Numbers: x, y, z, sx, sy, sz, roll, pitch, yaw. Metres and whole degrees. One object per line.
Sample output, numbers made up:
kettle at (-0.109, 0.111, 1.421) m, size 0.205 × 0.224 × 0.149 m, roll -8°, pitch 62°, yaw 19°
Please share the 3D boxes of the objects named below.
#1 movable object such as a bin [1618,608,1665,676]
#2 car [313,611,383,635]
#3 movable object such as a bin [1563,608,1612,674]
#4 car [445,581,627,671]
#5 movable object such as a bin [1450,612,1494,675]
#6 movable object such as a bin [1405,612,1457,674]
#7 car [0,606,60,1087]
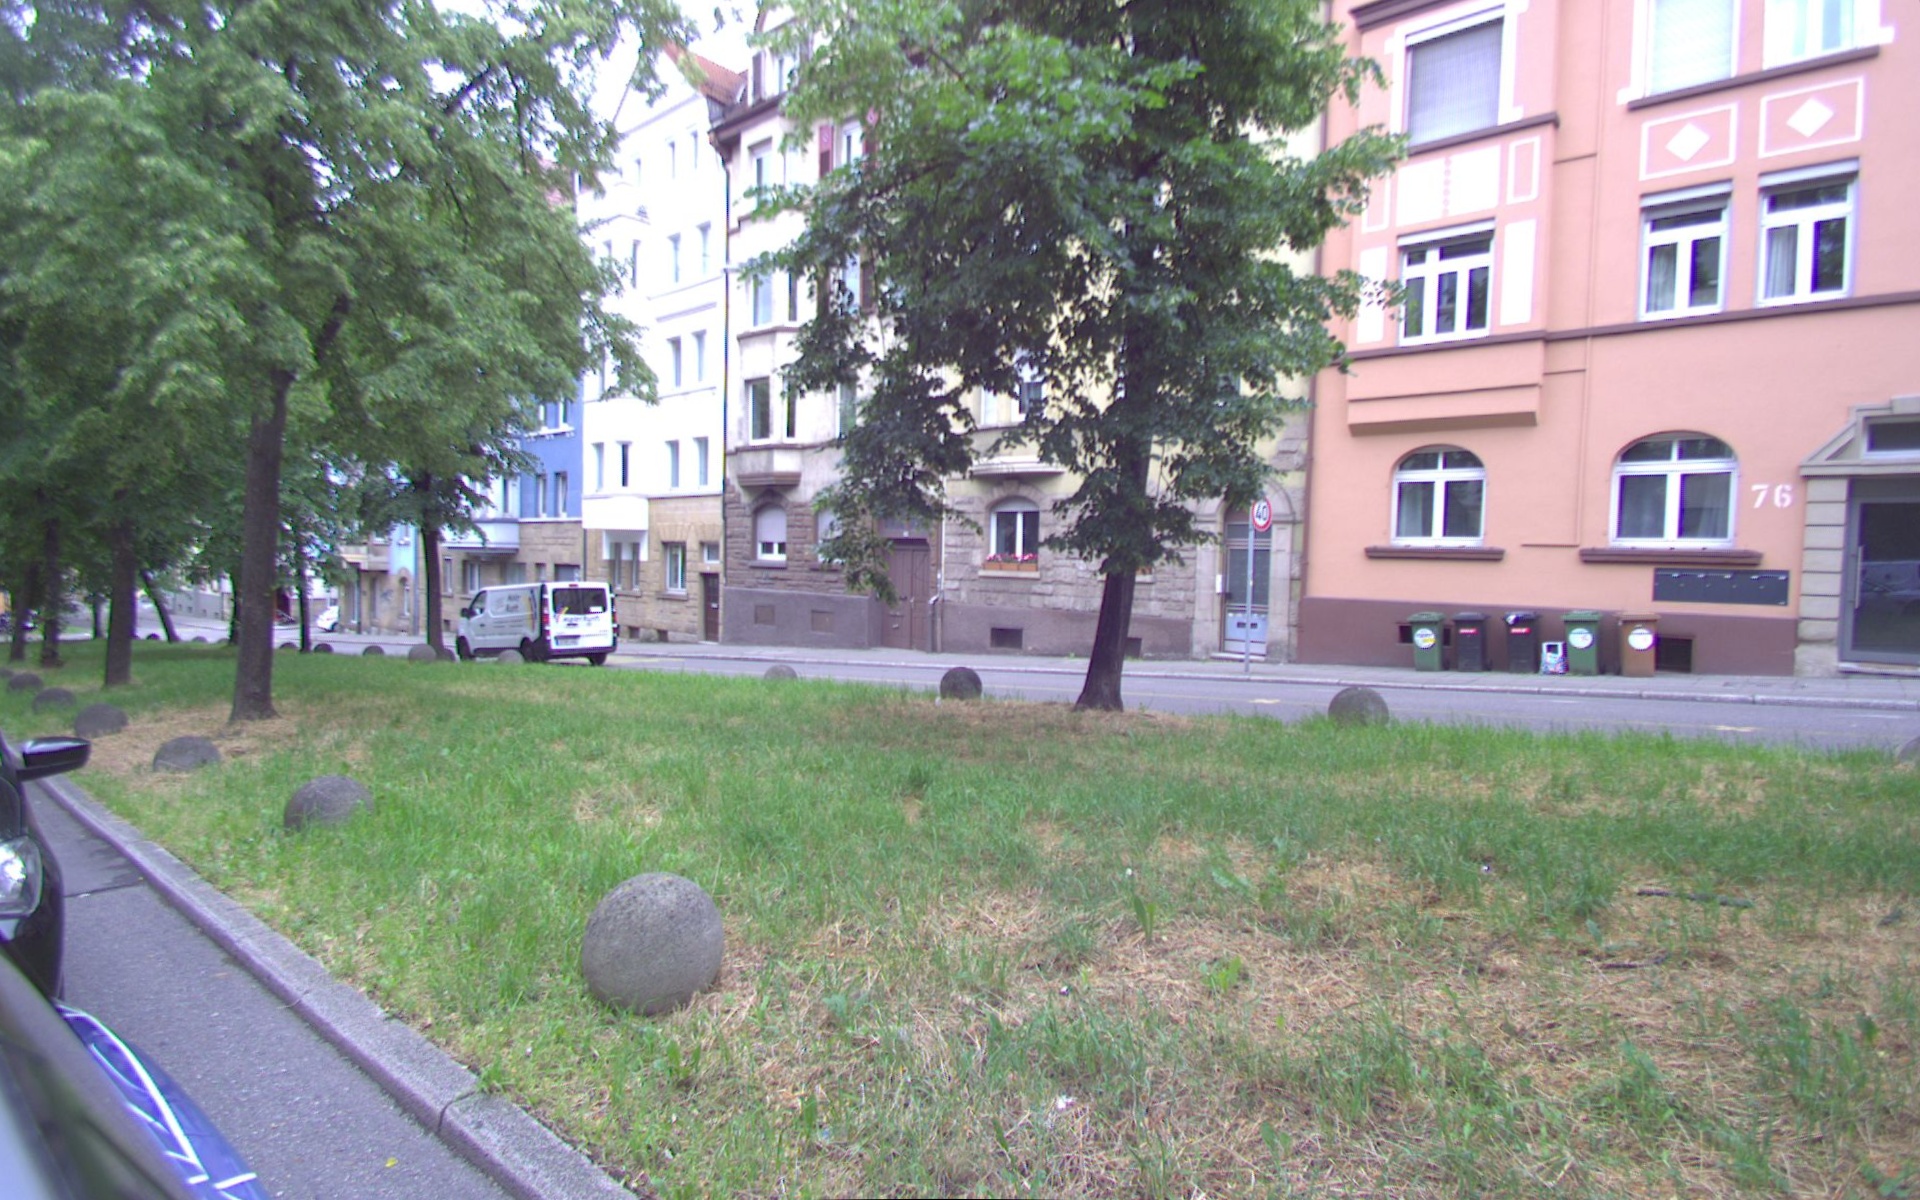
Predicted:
movable object such as a bin at (9.654, 0.578, 14.337) m, size 0.514 × 0.928 × 0.750 m, roll -1°, pitch 0°, yaw 36°
car at (-35.356, 1.306, 58.493) m, size 3.244 × 1.341 × 1.674 m, roll -1°, pitch 0°, yaw -40°
movable object such as a bin at (9.149, 0.585, 14.753) m, size 0.558 × 0.928 × 0.648 m, roll -1°, pitch 0°, yaw 36°
car at (-10.376, 0.609, 24.535) m, size 5.306 × 1.959 × 1.972 m, roll -2°, pitch 0°, yaw 42°
movable object such as a bin at (8.003, 0.669, 15.813) m, size 0.531 × 0.953 × 0.575 m, roll -1°, pitch 0°, yaw 35°
movable object such as a bin at (7.530, 0.669, 16.185) m, size 0.617 × 0.955 × 0.610 m, roll -1°, pitch 0°, yaw 40°
car at (-4.627, 0.755, 3.689) m, size 3.295 × 1.476 × 1.590 m, roll -1°, pitch -2°, yaw 41°
